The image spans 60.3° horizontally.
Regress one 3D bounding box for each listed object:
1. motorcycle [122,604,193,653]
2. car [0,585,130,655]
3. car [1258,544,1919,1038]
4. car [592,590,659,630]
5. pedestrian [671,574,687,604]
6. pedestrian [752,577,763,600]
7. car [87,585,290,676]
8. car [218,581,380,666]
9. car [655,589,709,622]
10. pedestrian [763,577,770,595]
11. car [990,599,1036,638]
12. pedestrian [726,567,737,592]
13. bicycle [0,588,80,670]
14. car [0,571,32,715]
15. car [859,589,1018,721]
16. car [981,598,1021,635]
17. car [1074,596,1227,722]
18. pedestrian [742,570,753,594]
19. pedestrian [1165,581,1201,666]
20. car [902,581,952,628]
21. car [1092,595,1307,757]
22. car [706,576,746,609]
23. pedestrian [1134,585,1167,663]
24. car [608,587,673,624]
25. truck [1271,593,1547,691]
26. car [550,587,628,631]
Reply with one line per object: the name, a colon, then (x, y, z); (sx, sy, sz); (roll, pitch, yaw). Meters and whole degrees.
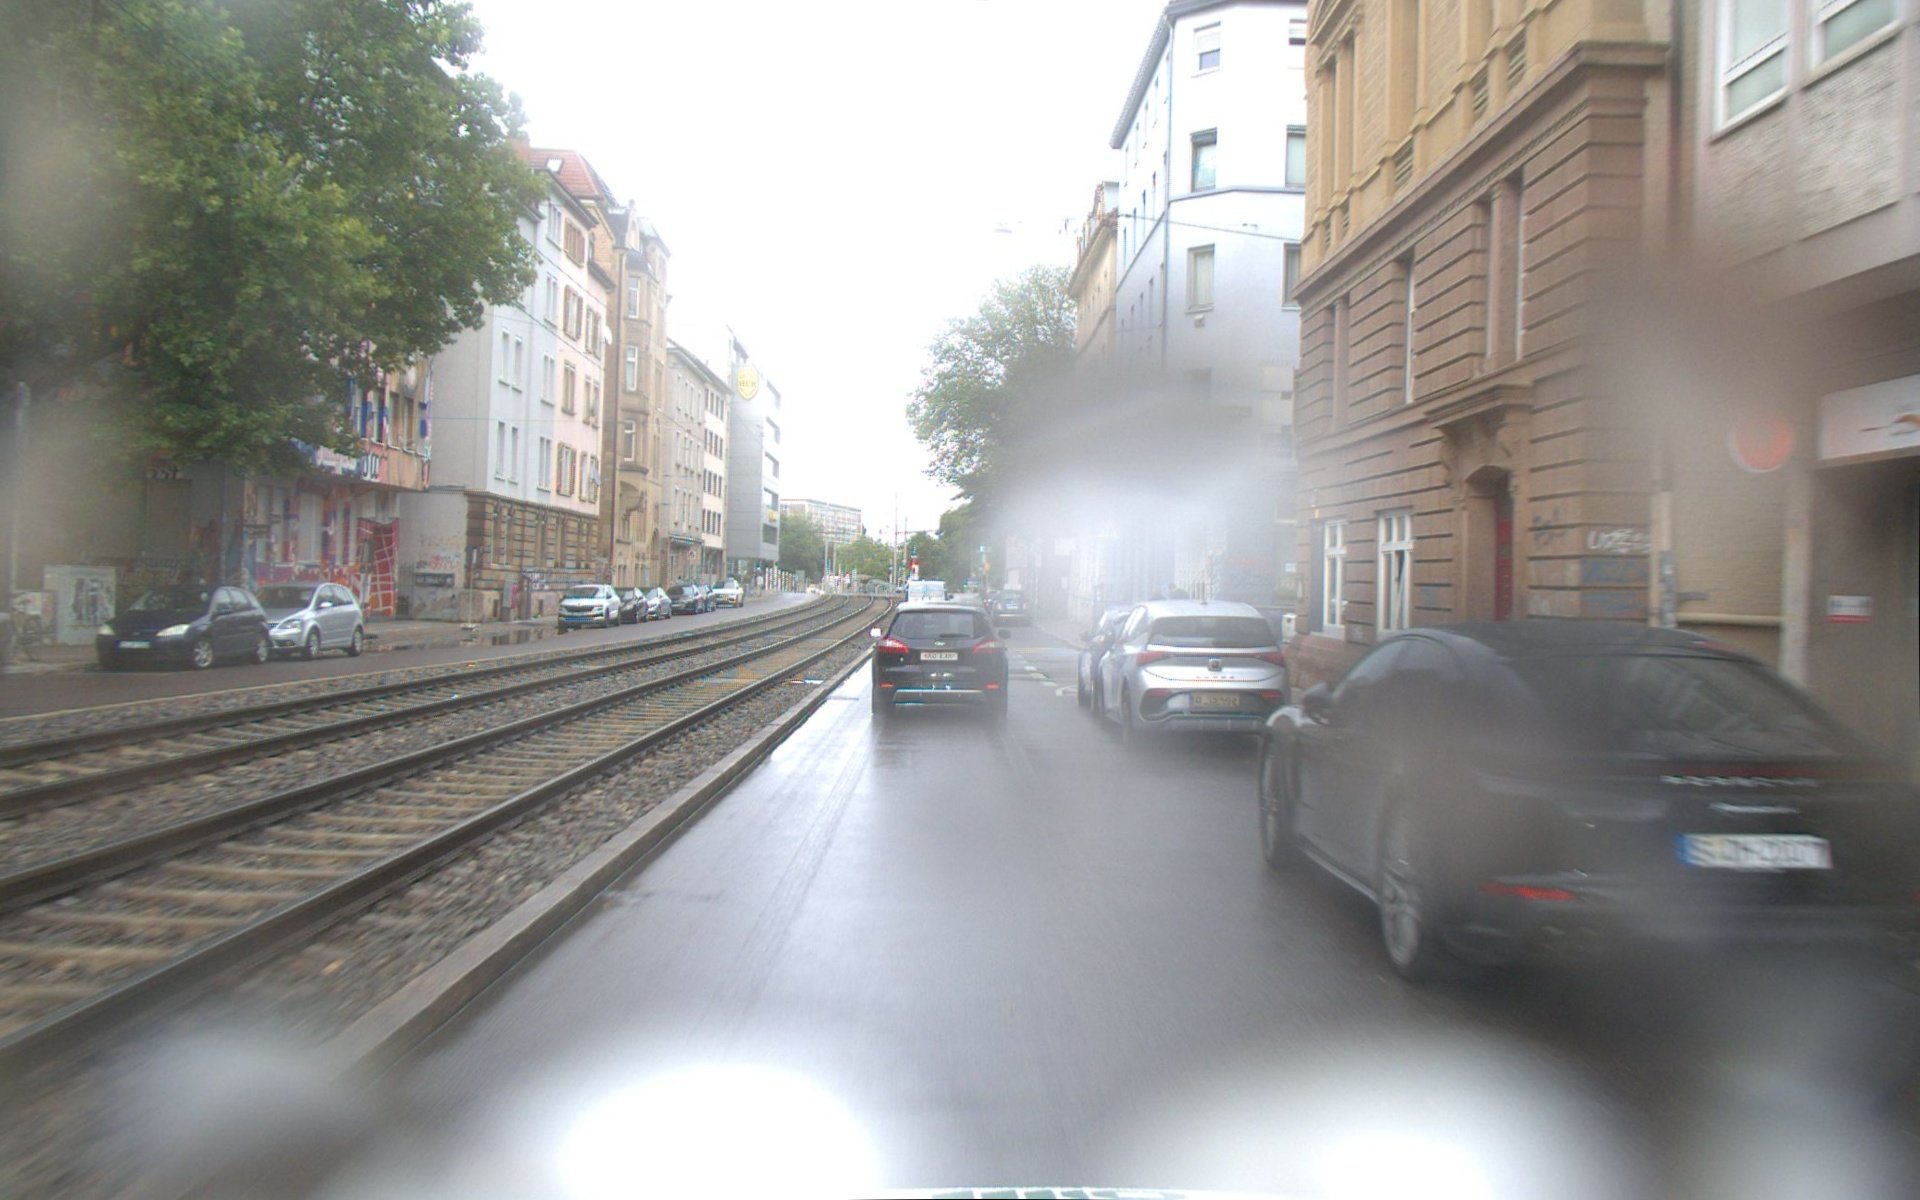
motorcycle: (-18.236, 0.629, 37.637); (0.626, 1.051, 2.119); (2, 0, -2)
car: (-20.851, 0.414, 37.641); (1.953, 1.480, 3.999); (1, 0, -2)
car: (2.809, 0.670, 7.792); (1.953, 1.622, 4.571); (1, -1, 0)
car: (-13.889, 0.389, 68.913); (1.953, 1.545, 4.208); (2, 0, -1)
pedestrian: (-16.768, -0.662, 98.699); (0.785, 1.781, 0.984); (2, 0, -2)
pedestrian: (-16.733, -0.922, 136.718); (0.729, 1.886, 0.839); (1, -1, -2)
car: (-13.706, 0.509, 29.669); (1.708, 1.494, 4.219); (0, 0, -1)
car: (-13.692, 0.464, 34.533); (1.687, 1.597, 4.219); (2, 0, -1)
car: (-14.086, 0.276, 84.008); (1.953, 1.545, 4.675); (2, 0, -1)
pedestrian: (-21.102, -1.503, 180.255); (0.729, 1.886, 0.839); (1, -1, -2)
car: (2.223, 0.762, 70.720); (1.703, 1.515, 3.999); (2, 1, -2)
pedestrian: (-18.032, -1.618, 130.511); (0.729, 1.886, 0.839); (1, -1, -2)
bicycle: (-15.076, 0.453, 26.811); (0.579, 1.248, 2.399); (2, -1, -8)
car: (-11.340, 0.431, 16.083); (1.952, 1.545, 4.445); (2, 0, 2)
car: (-0.274, 0.715, 22.766); (1.953, 1.622, 4.270); (1, -1, 0)
car: (1.844, 0.724, 75.317); (1.609, 1.542, 4.038); (2, 1, -2)
car: (2.630, 0.765, 23.681); (1.685, 1.542, 4.258); (2, 1, 0)
pedestrian: (-16.767, -1.429, 130.610); (0.729, 1.886, 0.839); (1, -1, -2)
pedestrian: (5.536, 0.574, 41.085); (0.721, 2.049, 0.821); (2, 0, -2)
car: (-1.331, 0.219, 68.321); (1.953, 1.848, 4.270); (1, -1, 0)
car: (2.593, 0.761, 18.883); (1.711, 1.549, 4.354); (2, 1, -1)
car: (-14.369, -0.456, 101.816); (1.954, 1.871, 5.068); (2, 0, -3)
pedestrian: (4.736, 0.585, 41.122); (0.648, 1.884, 0.821); (2, 0, -2)
car: (-14.157, 0.229, 73.617); (1.953, 1.545, 4.991); (2, 0, -1)
truck: (8.992, 0.828, 33.392); (4.958, 1.850, 2.082); (1, 0, -4)
car: (-13.988, 0.332, 62.526); (1.953, 1.545, 4.434); (2, 0, -1)
